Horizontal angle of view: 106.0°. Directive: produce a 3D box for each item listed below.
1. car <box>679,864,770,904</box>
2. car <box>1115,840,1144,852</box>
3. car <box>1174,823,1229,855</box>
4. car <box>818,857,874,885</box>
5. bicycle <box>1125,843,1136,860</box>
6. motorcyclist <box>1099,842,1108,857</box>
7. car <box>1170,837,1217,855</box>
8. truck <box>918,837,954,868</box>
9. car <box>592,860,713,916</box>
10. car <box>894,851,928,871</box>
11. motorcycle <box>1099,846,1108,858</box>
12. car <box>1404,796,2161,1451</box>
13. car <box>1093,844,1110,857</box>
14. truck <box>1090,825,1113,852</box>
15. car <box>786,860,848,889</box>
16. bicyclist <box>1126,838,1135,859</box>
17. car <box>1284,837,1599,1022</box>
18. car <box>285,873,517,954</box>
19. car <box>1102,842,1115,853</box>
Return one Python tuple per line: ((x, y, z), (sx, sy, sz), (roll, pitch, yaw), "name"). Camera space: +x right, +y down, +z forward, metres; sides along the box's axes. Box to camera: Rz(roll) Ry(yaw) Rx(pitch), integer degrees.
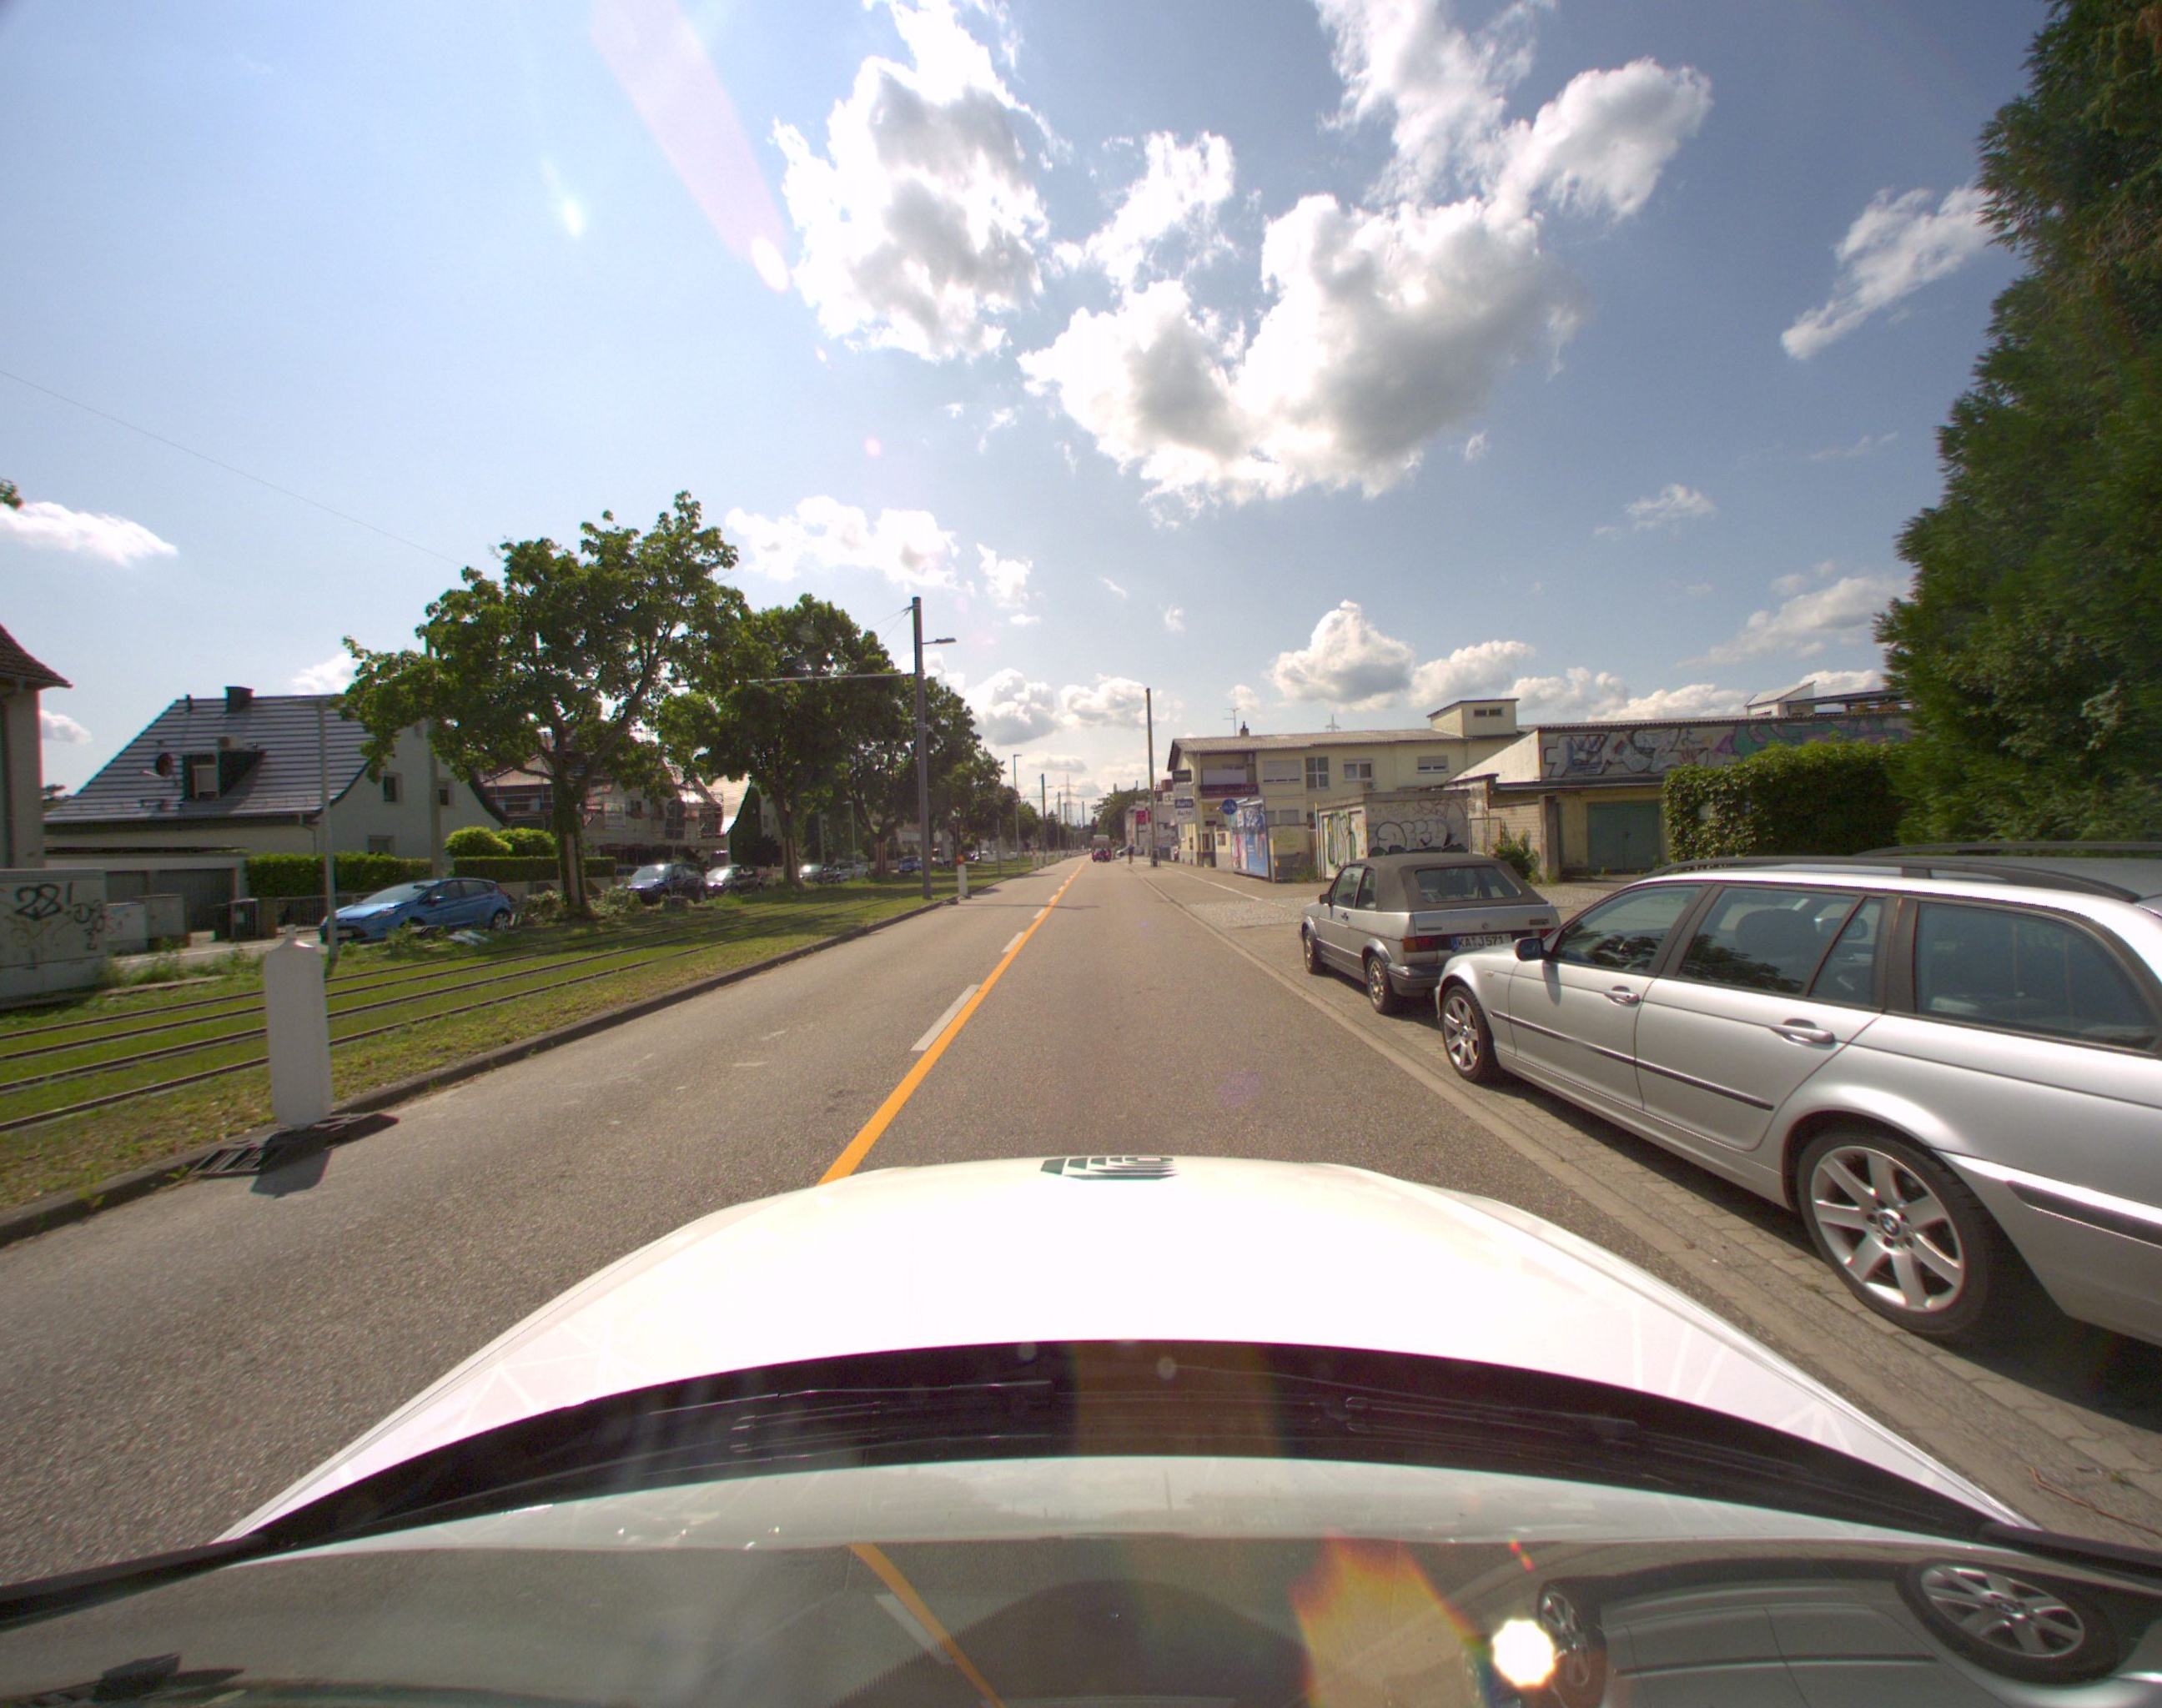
((-15.163, 1.231, 34.875), (1.987, 1.438, 4.001), (-5, 0, 1), "car")
((7.664, -1.252, 129.105), (4.326, 1.551, 1.945), (-4, 0, -7), "car")
((10.699, -1.304, 72.408), (4.518, 2.573, 2.153), (-3, 0, 2), "car")
((-14.556, 1.016, 50.721), (1.798, 1.482, 4.941), (-4, 0, 2), "car")
((4.117, -0.219, 67.798), (0.690, 1.361, 2.419), (-3, 1, 1), "bicycle")
((2.396, -0.457, 87.040), (0.936, 1.615, 1.205), (-1, 0, 1), "motorcyclist")
((10.413, -0.715, 75.206), (4.160, 1.431, 1.824), (-3, 0, 8), "car")
((-14.023, -0.189, 79.225), (1.987, 2.767, 6.278), (-6, 1, 1), "truck")
((-15.021, 1.120, 28.883), (1.989, 1.691, 4.388), (-4, 0, -2), "car")
((-14.224, 0.555, 68.249), (1.988, 1.453, 3.999), (-4, 0, -1), "car")
((2.401, -0.204, 87.222), (0.936, 1.320, 2.646), (-1, 0, 1), "motorcycle")
((3.295, 0.590, 3.821), (1.686, 1.516, 4.354), (-4, 0, -1), "car")
((2.333, -0.405, 91.698), (1.815, 1.424, 4.001), (-2, 1, 1), "car")
((2.760, -2.129, 107.766), (2.600, 3.255, 9.187), (-4, 2, 2), "truck")
((-14.539, 1.090, 45.067), (1.987, 1.317, 3.853), (-5, 0, 1), "car")
((4.126, -0.456, 67.876), (0.669, 1.743, 0.814), (-3, 0, 1), "bicyclist")
((3.493, 0.622, 8.787), (1.645, 1.431, 4.099), (-4, 0, 2), "car")
((-15.120, 1.244, 18.426), (1.746, 1.435, 3.893), (-4, 0, 3), "car")
((4.110, -0.978, 120.880), (1.815, 1.464, 4.002), (-2, 1, 2), "car")
